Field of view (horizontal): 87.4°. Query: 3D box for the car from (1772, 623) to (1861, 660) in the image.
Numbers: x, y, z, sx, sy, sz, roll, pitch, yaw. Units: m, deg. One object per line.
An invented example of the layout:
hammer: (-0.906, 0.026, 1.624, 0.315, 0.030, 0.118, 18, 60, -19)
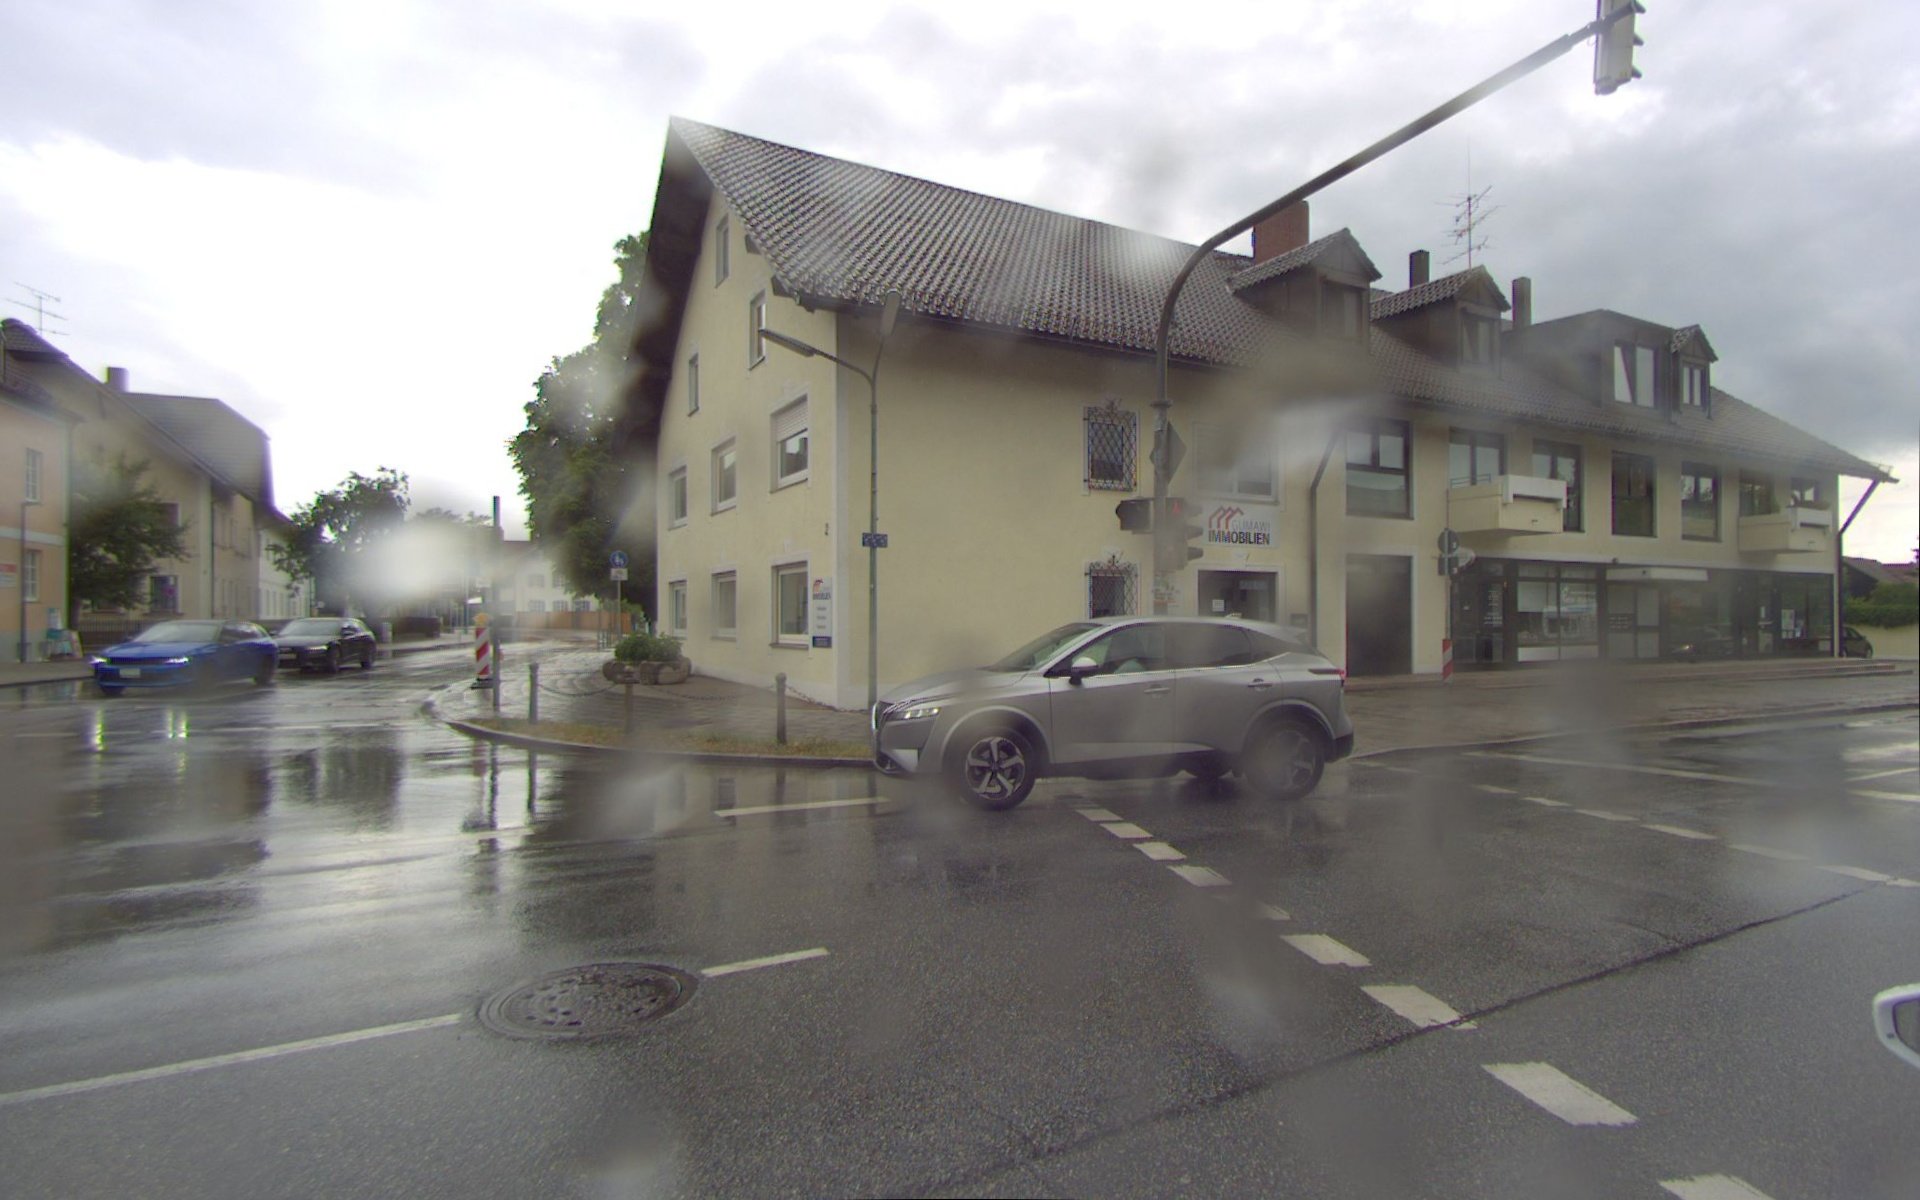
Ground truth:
car: (33.797, 1.635, 39.635, 3.467, 1.398, 1.600, 1, -2, -30)

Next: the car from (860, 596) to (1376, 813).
car: (1.333, 0.890, 9.389, 4.310, 1.695, 2.085, 1, -2, -12)

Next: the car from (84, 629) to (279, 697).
car: (-15.945, 1.236, 20.868, 1.662, 1.201, 4.346, 1, -1, -16)

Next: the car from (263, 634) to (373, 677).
car: (-17.606, 1.481, 27.730, 1.400, 1.030, 4.061, 1, -1, -16)
